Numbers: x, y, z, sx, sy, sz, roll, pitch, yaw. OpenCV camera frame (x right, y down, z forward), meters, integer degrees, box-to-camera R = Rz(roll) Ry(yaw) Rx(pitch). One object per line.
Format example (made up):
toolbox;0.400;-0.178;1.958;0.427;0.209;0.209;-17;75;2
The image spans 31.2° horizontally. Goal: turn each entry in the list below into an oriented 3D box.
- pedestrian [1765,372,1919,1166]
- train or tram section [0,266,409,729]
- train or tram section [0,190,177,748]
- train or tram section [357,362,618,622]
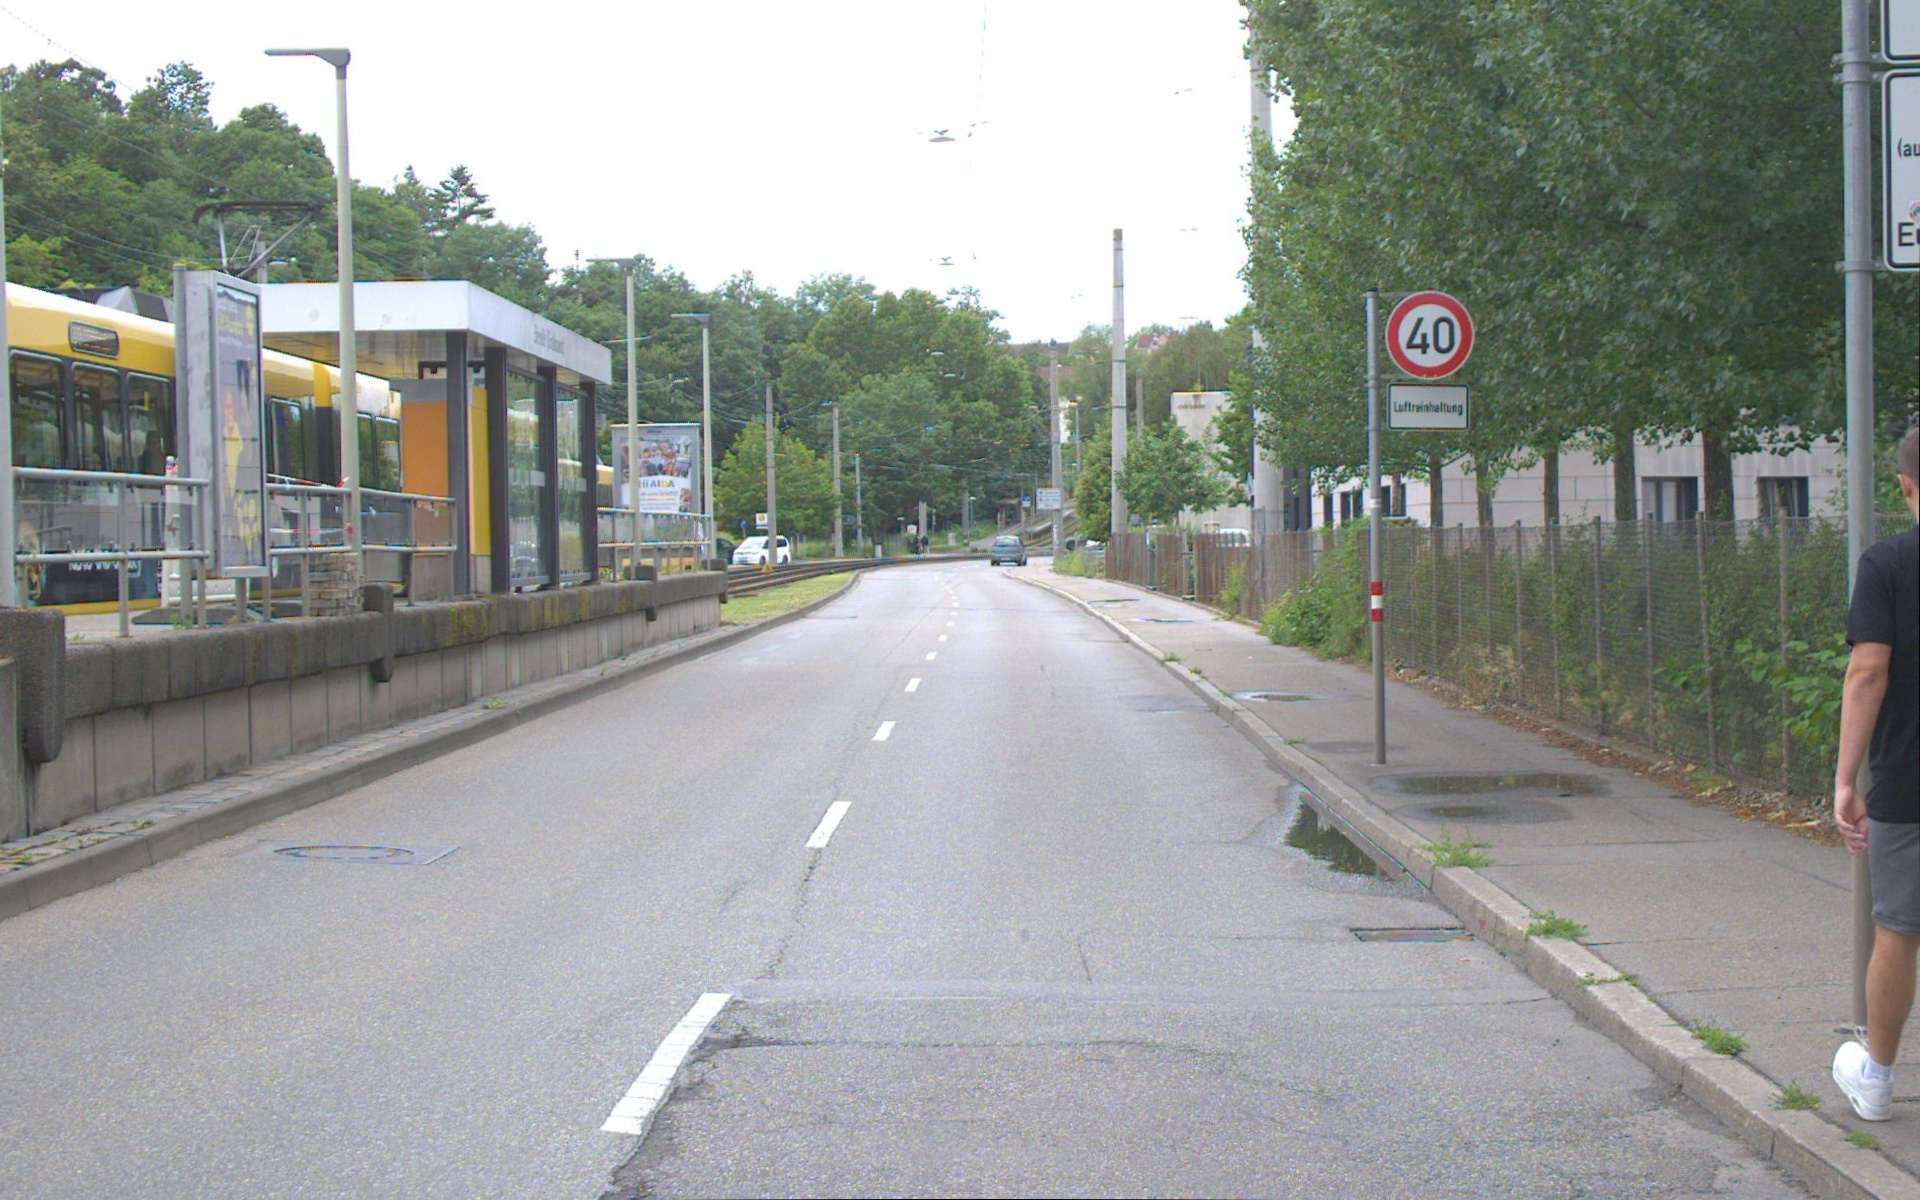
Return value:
pedestrian;2.368;0.402;8.408;0.602;1.861;0.671;-1;-2;2
train or tram section;-8.095;-1.090;35.540;2.740;3.952;11.913;-1;2;0
train or tram section;-8.172;-0.882;23.571;2.740;3.952;11.913;-1;2;0
train or tram section;-7.975;-1.892;59.411;2.971;4.051;10.197;-1;2;0
